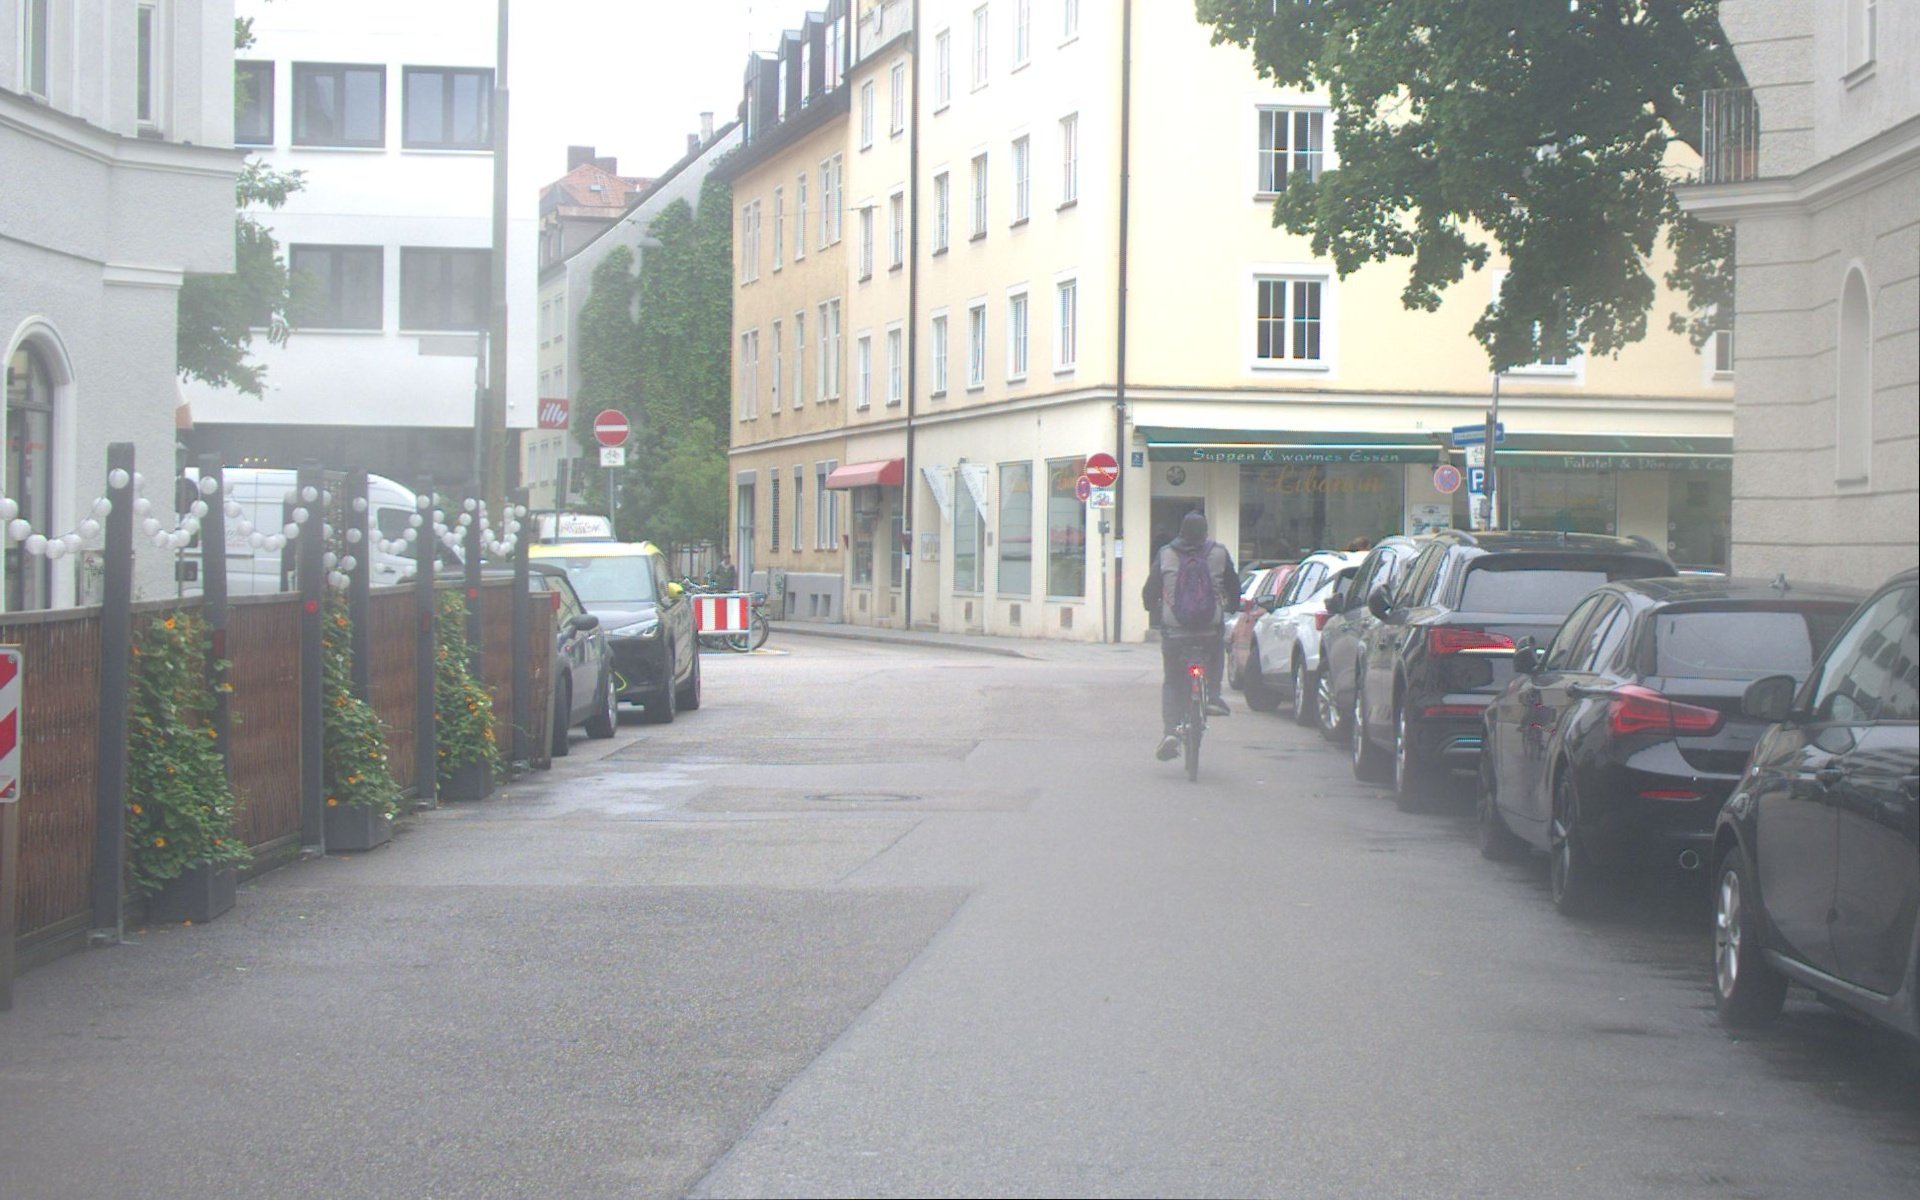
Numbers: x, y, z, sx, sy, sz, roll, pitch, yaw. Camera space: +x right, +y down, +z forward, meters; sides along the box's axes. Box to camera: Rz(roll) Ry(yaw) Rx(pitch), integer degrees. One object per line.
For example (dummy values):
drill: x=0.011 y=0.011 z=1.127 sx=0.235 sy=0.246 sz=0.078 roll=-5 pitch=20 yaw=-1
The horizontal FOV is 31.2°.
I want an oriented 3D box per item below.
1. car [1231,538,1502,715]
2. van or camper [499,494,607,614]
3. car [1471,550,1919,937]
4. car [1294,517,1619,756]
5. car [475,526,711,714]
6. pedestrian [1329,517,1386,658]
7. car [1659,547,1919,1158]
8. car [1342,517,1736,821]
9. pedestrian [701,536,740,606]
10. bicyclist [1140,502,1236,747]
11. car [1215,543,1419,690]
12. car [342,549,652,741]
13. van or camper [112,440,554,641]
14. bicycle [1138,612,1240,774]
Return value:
car: x=3.661 y=0.196 z=31.580 sx=1.750 sy=1.491 sz=3.910 roll=1 pitch=1 yaw=-4
van or camper: x=-8.976 y=-1.021 z=75.589 sx=1.993 sy=2.531 sz=4.762 roll=0 pitch=1 yaw=-11
car: x=3.405 y=0.532 z=15.539 sx=1.706 sy=1.466 sz=4.201 roll=1 pitch=1 yaw=2
car: x=3.797 y=0.224 z=27.001 sx=1.789 sy=1.707 sz=4.427 roll=1 pitch=1 yaw=-1
car: x=-3.303 y=0.153 z=31.589 sx=1.676 sy=1.591 sz=3.945 roll=-1 pitch=1 yaw=1
pedestrian: x=4.731 y=-0.158 z=40.902 sx=0.611 sy=1.655 sz=0.551 roll=1 pitch=1 yaw=4
car: x=3.260 y=0.643 z=9.949 sx=1.655 sy=1.520 sz=3.637 roll=2 pitch=1 yaw=-1
car: x=3.465 y=0.341 z=21.335 sx=1.777 sy=1.630 sz=4.375 roll=2 pitch=1 yaw=2
pedestrian: x=-6.156 y=-0.744 z=88.427 sx=0.877 sy=1.772 sz=0.774 roll=0 pitch=1 yaw=-12
bicyclist: x=1.513 y=0.150 z=22.870 sx=0.606 sy=1.601 sz=0.757 roll=1 pitch=1 yaw=3
car: x=3.788 y=0.131 z=37.077 sx=1.669 sy=1.430 sz=4.214 roll=2 pitch=1 yaw=-1
car: x=-3.559 y=0.300 z=27.096 sx=1.707 sy=1.385 sz=4.000 roll=-1 pitch=1 yaw=3
van or camper: x=-8.649 y=-0.791 z=47.740 sx=5.903 sy=2.668 sz=1.873 roll=1 pitch=-1 yaw=-9
bicycle: x=1.506 y=0.597 z=22.815 sx=0.639 sy=1.001 sz=1.574 roll=1 pitch=1 yaw=3
